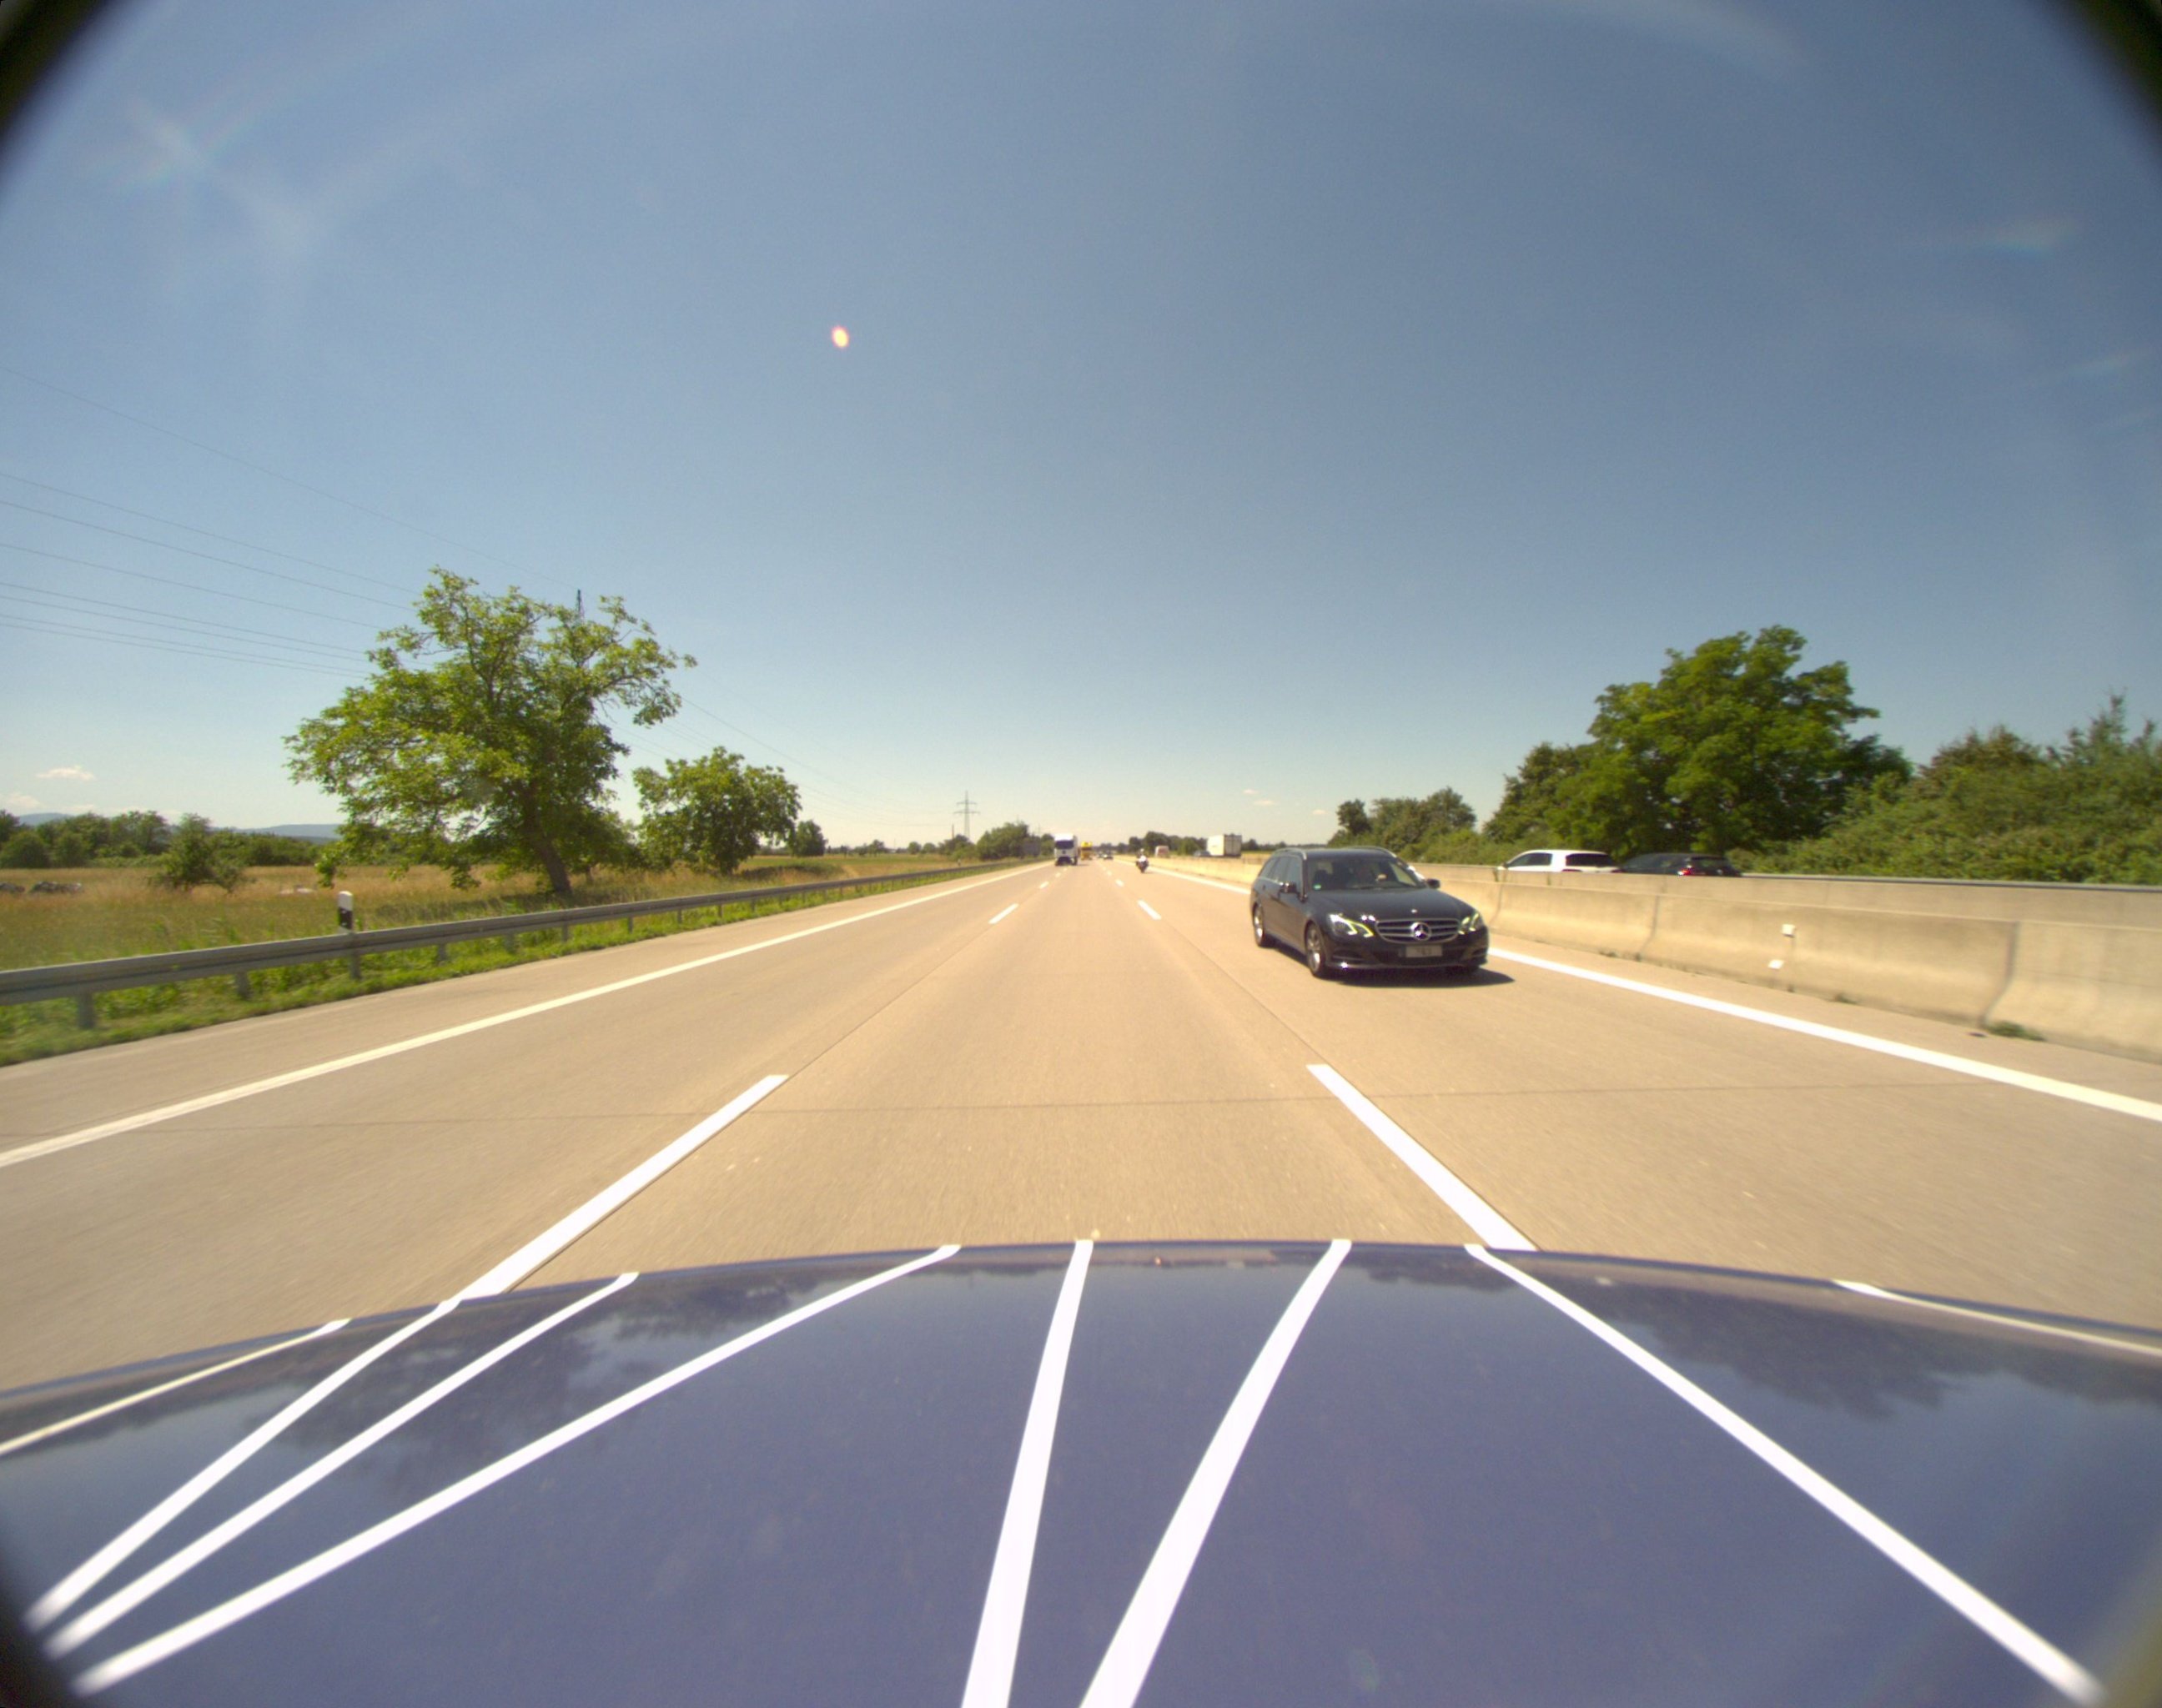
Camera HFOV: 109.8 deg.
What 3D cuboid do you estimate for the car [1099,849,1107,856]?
[{"bbox_3d":[6.183,-0.520,217.630,1.999,1.827,4.815,-2,0,-2],"label":"car"}]

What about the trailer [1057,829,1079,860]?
[{"bbox_3d":[-1.681,-1.169,101.292,2.587,3.855,10.372,-2,0,0],"label":"trailer"}]

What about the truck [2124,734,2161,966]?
[{"bbox_3d":[20.496,-0.115,11.294,2.960,4.103,5.085,-2,0,1],"label":"truck"}]

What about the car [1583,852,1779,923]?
[{"bbox_3d":[17.050,0.867,21.980,1.998,1.747,4.715,-2,0,1],"label":"car"}]

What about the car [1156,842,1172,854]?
[{"bbox_3d":[14.245,-0.965,130.745,2.073,2.002,5.980,-2,0,0],"label":"car"}]

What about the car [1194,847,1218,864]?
[{"bbox_3d":[13.877,0.155,84.395,1.934,1.783,4.396,-2,0,0],"label":"car"}]

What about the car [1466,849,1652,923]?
[{"bbox_3d":[13.103,0.782,21.328,1.998,1.747,5.157,-2,0,1],"label":"car"}]

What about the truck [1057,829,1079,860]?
[{"bbox_3d":[-1.680,-1.192,97.162,2.587,3.855,4.984,-2,0,0],"label":"truck"}]

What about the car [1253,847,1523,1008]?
[{"bbox_3d":[3.559,0.744,9.685,1.848,1.576,3.940,-2,0,1],"label":"car"}]

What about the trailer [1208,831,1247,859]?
[{"bbox_3d":[22.217,-1.331,116.098,3.169,3.816,14.030,-2,0,0],"label":"trailer"}]
